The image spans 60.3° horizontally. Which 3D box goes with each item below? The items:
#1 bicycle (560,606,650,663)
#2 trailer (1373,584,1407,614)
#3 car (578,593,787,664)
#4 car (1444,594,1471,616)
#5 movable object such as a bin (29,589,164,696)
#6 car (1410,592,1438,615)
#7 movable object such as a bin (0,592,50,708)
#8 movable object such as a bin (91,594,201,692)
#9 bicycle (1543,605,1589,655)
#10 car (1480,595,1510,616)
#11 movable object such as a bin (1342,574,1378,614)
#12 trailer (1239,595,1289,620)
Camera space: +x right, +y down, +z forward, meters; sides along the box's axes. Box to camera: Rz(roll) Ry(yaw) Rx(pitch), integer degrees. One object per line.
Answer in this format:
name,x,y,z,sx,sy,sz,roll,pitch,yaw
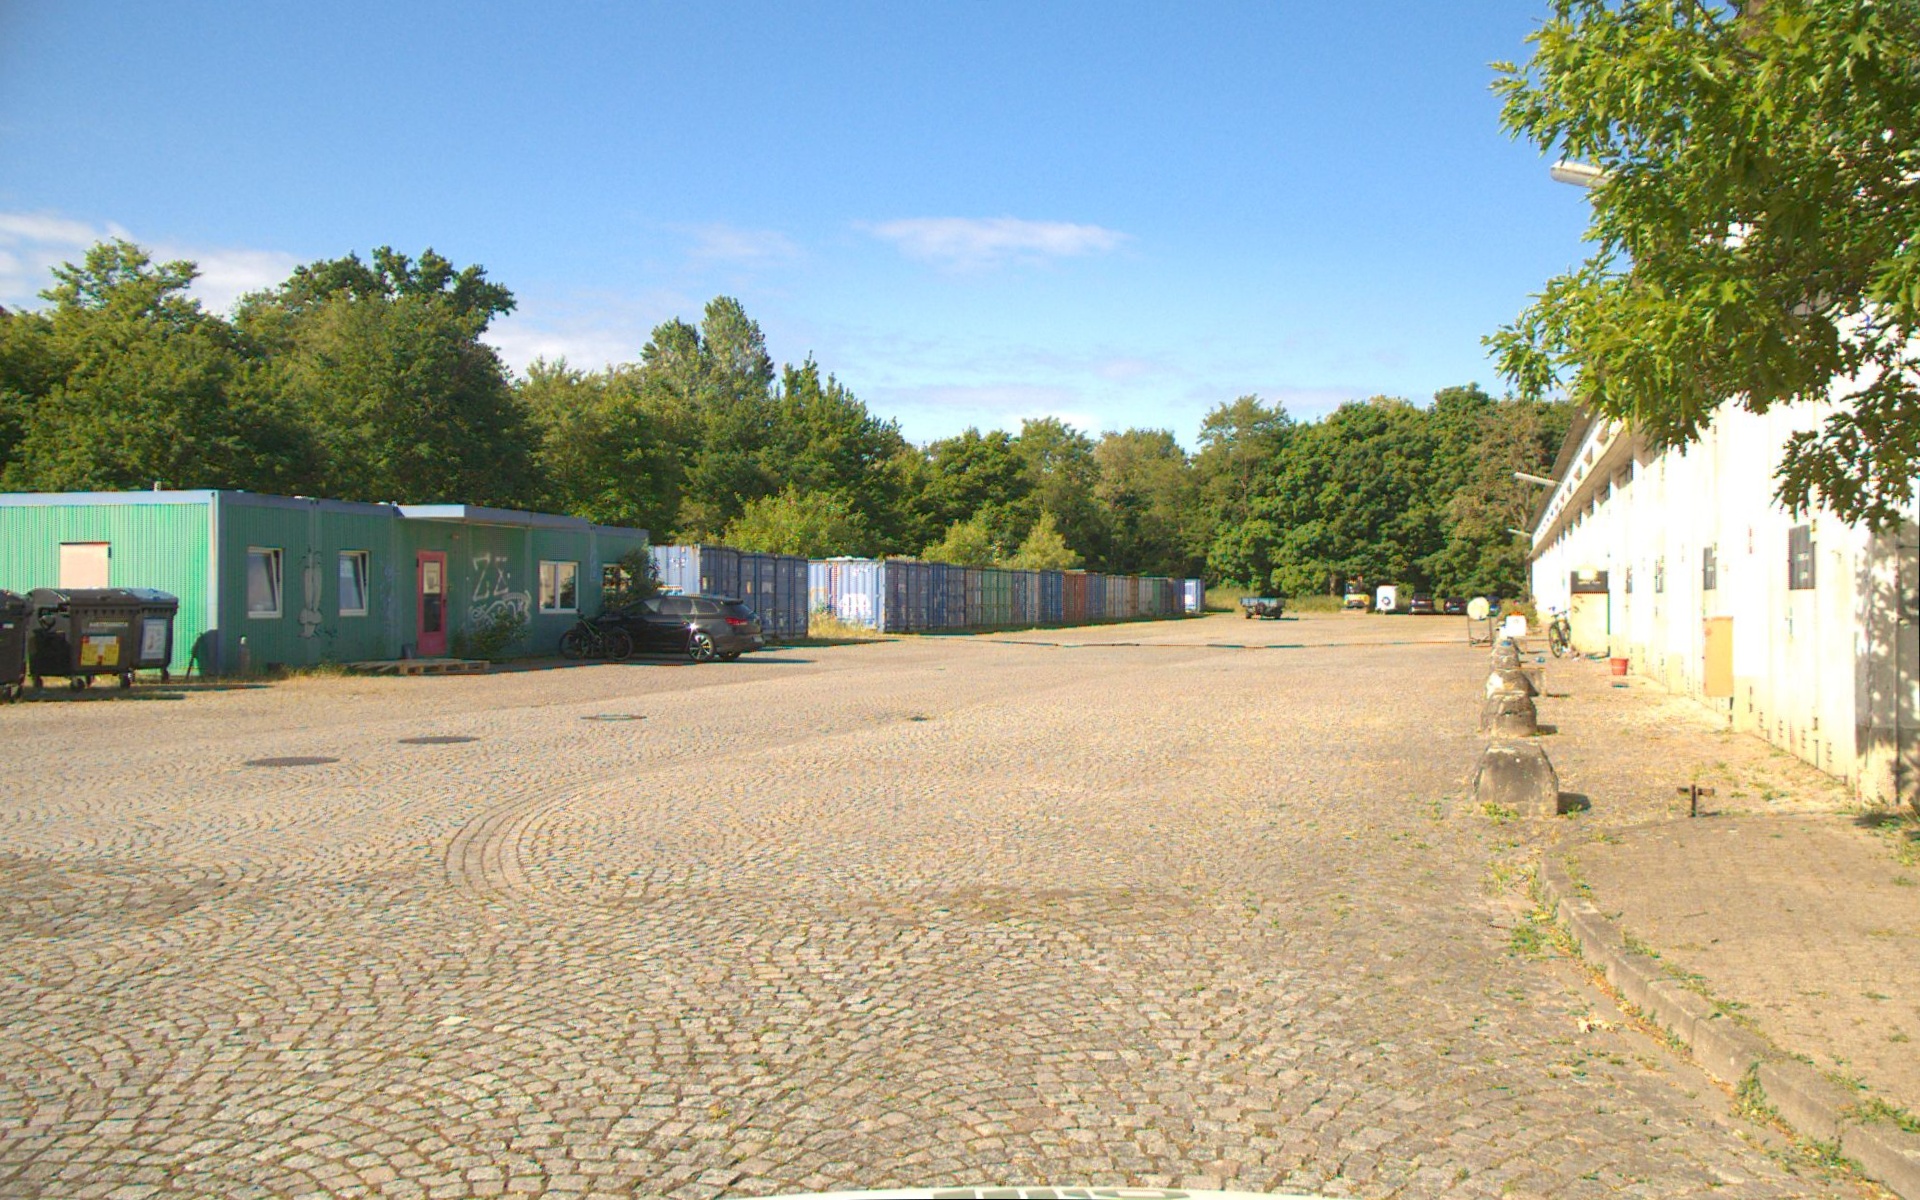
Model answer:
bicycle,-7.623,0.730,35.508,1.765,1.190,0.669,1,0,16
trailer,33.600,-0.109,129.136,2.147,2.131,5.754,1,2,18
car,-6.167,0.614,36.947,4.162,1.475,1.932,1,0,16
car,37.791,0.348,125.584,1.824,1.495,4.298,1,2,18
movable object such as a bin,-12.510,0.595,24.004,0.996,1.483,1.441,1,0,18
car,35.369,0.248,126.020,1.824,1.617,4.298,1,2,18
movable object such as a bin,-12.694,0.639,21.840,1.139,1.483,1.425,1,0,-29
movable object such as a bin,-12.697,0.656,25.834,0.863,1.483,1.441,1,0,7
bicycle,13.472,0.664,36.758,0.652,1.087,1.820,1,0,30
car,40.338,0.402,124.653,1.709,1.461,4.182,2,2,23
movable object such as a bin,31.578,-0.518,130.451,2.258,2.947,5.753,1,2,19
trailer,20.674,0.460,112.303,2.648,1.491,6.251,1,1,17
